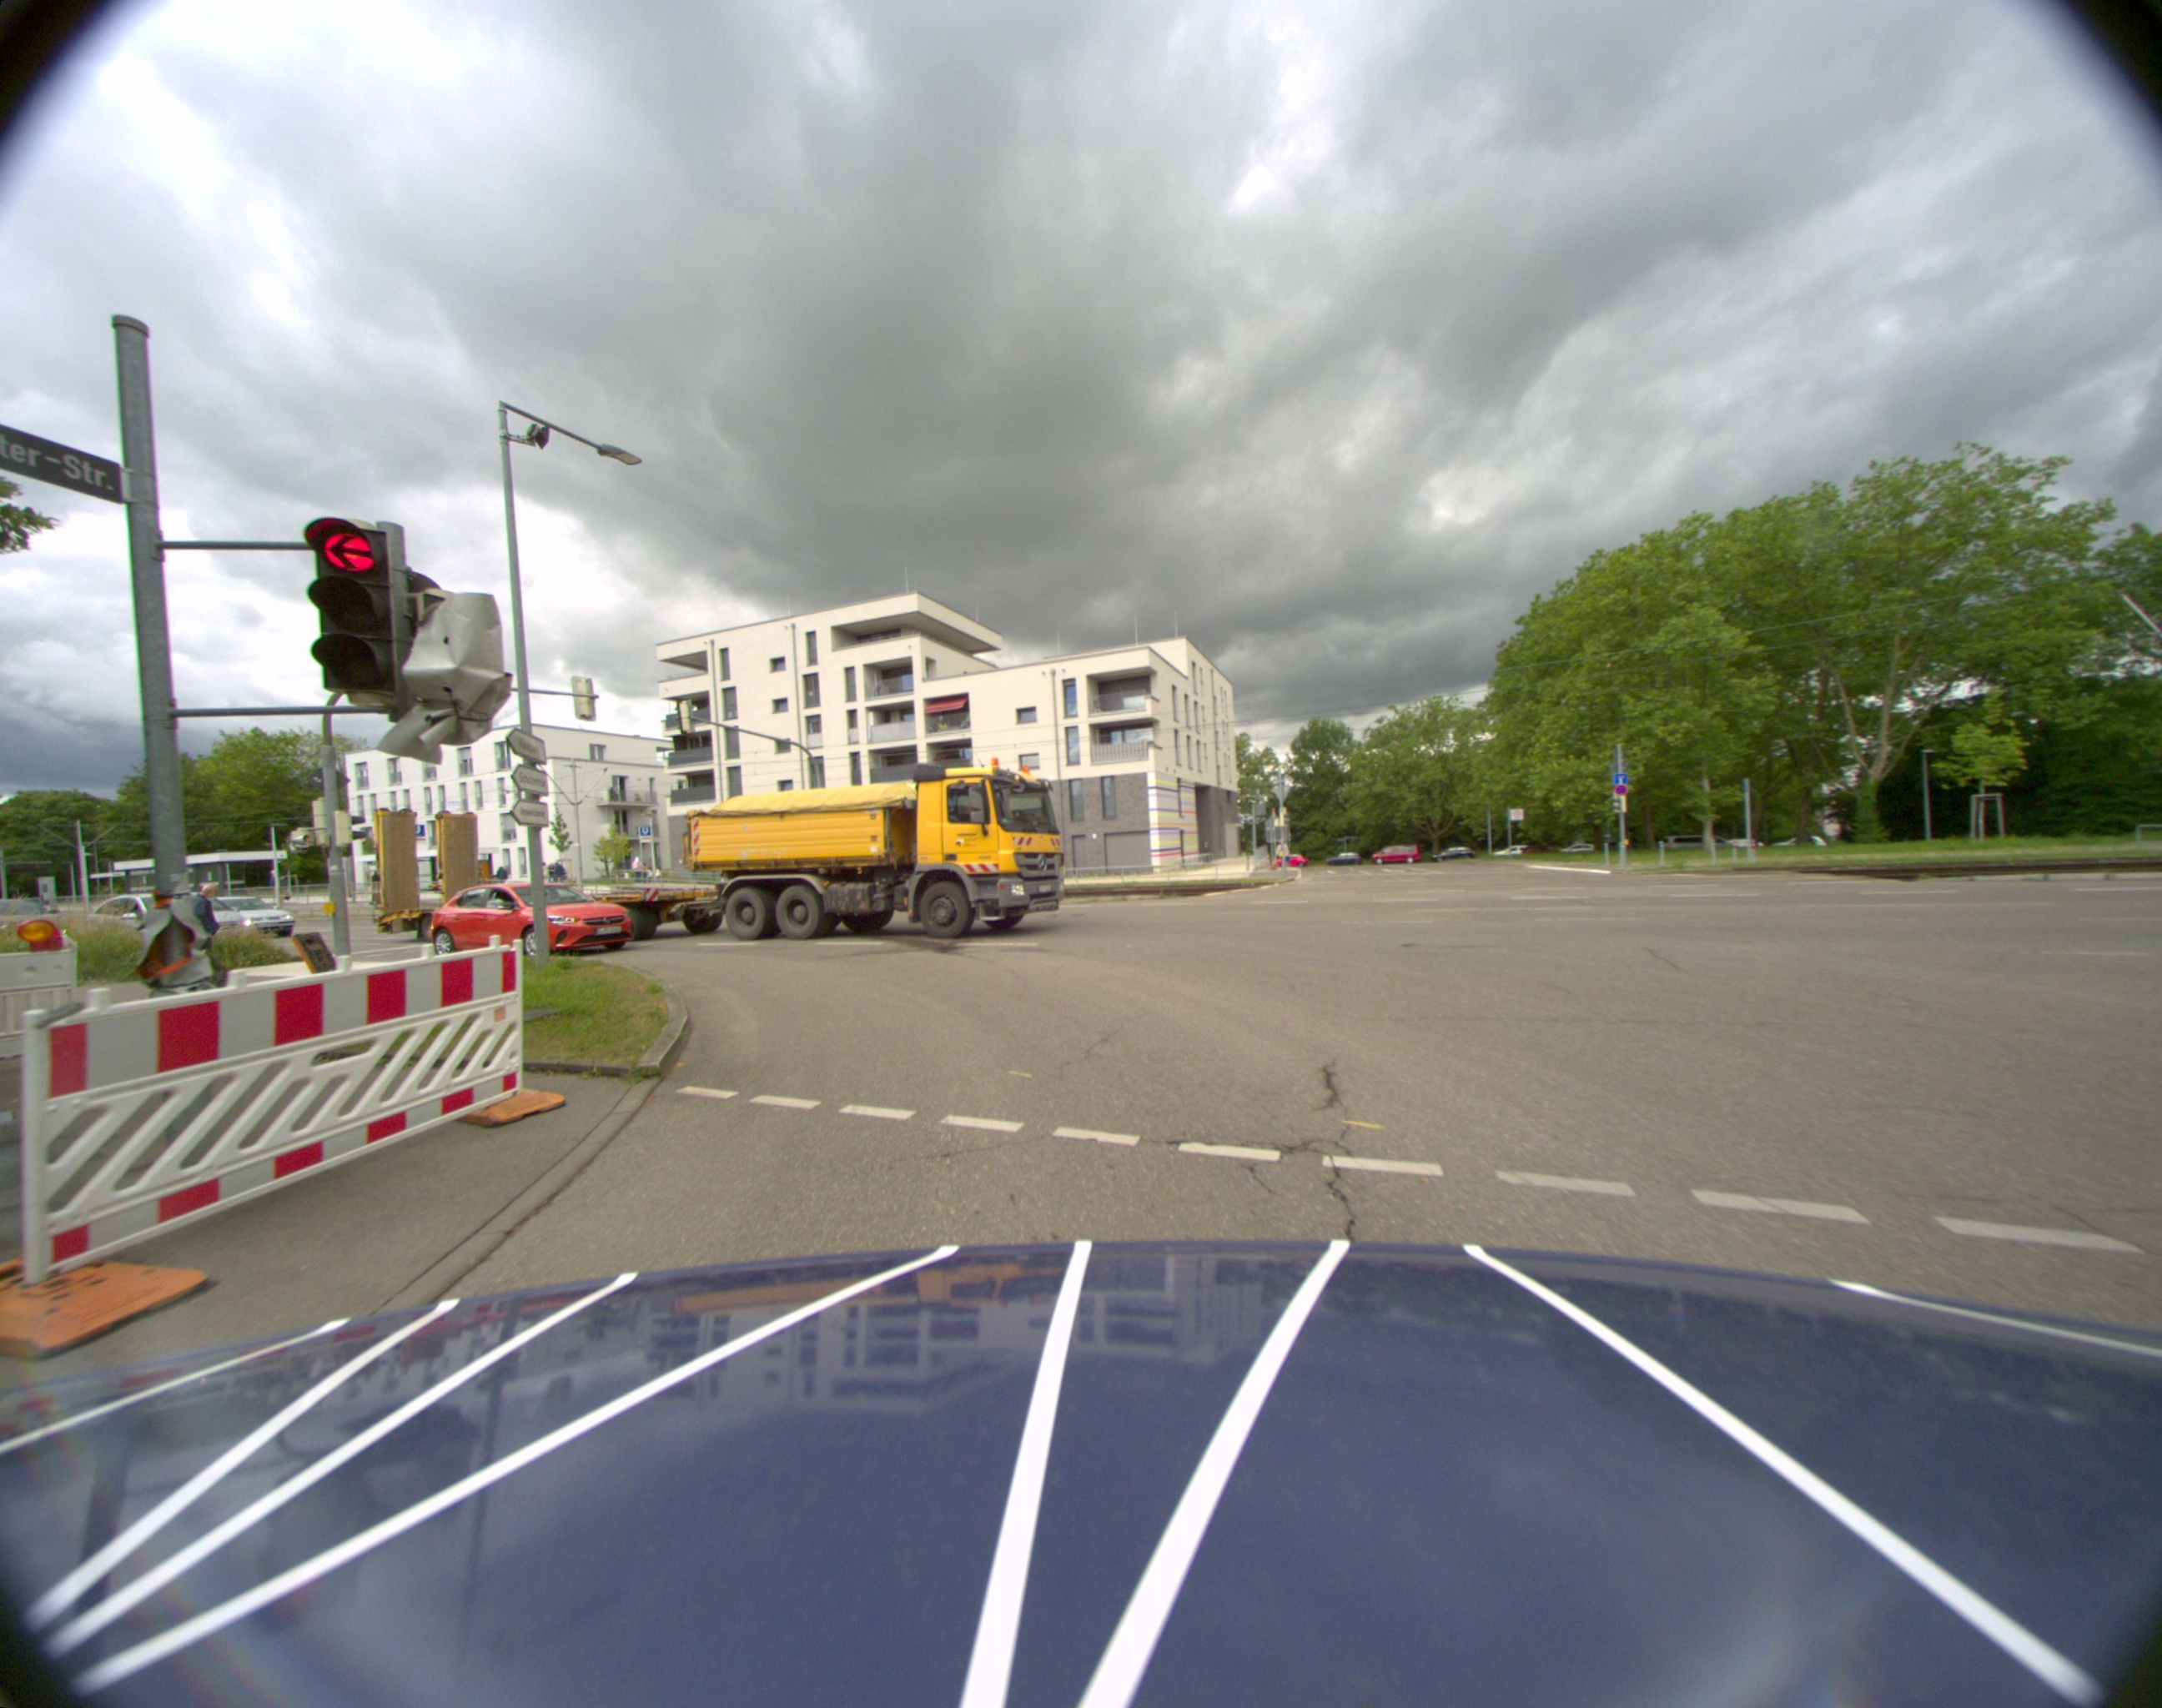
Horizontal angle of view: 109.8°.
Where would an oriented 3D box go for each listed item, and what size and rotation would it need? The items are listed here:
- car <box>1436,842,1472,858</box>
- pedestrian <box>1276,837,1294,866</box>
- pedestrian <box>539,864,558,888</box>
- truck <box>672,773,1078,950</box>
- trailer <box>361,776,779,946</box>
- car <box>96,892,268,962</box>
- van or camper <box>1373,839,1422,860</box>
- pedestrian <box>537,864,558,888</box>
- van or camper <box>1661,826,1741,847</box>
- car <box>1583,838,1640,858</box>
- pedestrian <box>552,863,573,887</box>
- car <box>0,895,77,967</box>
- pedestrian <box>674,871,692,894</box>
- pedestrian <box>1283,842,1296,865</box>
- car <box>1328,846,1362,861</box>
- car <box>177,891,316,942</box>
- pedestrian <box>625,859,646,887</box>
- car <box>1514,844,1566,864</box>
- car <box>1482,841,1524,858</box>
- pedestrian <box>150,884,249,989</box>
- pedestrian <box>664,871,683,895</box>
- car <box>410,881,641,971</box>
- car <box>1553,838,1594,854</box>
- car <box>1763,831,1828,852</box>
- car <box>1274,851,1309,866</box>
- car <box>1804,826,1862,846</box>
[{"bbox_3d":[38.073,-0.430,77.528,3.132,1.493,1.607,-3,0,28],"label":"car"},{"bbox_3d":[12.019,-0.158,44.736,0.990,1.660,0.856,-2,1,15],"label":"pedestrian"},{"bbox_3d":[-33.884,1.389,48.349,0.669,1.509,0.717,-3,0,20],"label":"pedestrian"},{"bbox_3d":[-4.230,0.216,15.491,7.761,2.986,2.733,-2,1,21],"label":"truck"},{"bbox_3d":[-12.875,0.330,18.863,10.890,3.501,2.719,-2,1,21],"label":"trailer"},{"bbox_3d":[-23.166,1.855,19.601,3.438,1.565,1.741,-3,0,20],"label":"car"},{"bbox_3d":[33.387,-0.458,80.200,4.549,2.013,2.051,-3,0,28],"label":"van or camper"},{"bbox_3d":[-32.541,1.326,46.318,0.669,1.401,0.716,-3,0,15],"label":"pedestrian"},{"bbox_3d":[53.240,-1.482,65.343,4.996,1.524,1.867,-3,0,22],"label":"van or camper"},{"bbox_3d":[47.129,-0.563,67.568,3.777,1.652,1.667,-2,1,20],"label":"car"},{"bbox_3d":[-31.732,1.291,46.508,0.669,1.401,0.717,-3,0,20],"label":"pedestrian"},{"bbox_3d":[-33.129,2.356,23.121,3.991,2.002,2.003,-3,1,21],"label":"car"},{"bbox_3d":[-25.182,1.819,48.087,0.669,1.401,0.717,-3,0,20],"label":"pedestrian"},{"bbox_3d":[18.617,-0.075,67.860,0.937,2.002,1.118,-3,0,21],"label":"pedestrian"},{"bbox_3d":[28.607,-0.085,82.401,3.262,1.493,1.607,-3,0,28],"label":"car"},{"bbox_3d":[-27.292,2.025,24.855,3.991,1.471,1.696,-2,1,21],"label":"car"},{"bbox_3d":[-27.567,1.197,47.063,0.764,1.677,0.717,-3,0,20],"label":"pedestrian"},{"bbox_3d":[41.791,-0.028,69.281,3.777,1.652,1.667,-2,1,21],"label":"car"},{"bbox_3d":[42.274,-0.485,76.241,3.588,1.528,1.877,-3,0,28],"label":"car"},{"bbox_3d":[-15.613,1.425,13.490,0.958,1.730,0.726,-3,1,-39],"label":"pedestrian"},{"bbox_3d":[-25.152,1.801,46.911,0.669,1.401,0.717,-3,0,20],"label":"pedestrian"},{"bbox_3d":[-10.823,1.347,14.816,3.991,1.471,1.696,-2,1,21],"label":"car"},{"bbox_3d":[47.710,-0.767,73.639,3.132,1.336,1.450,-3,0,28],"label":"car"},{"bbox_3d":[63.290,-1.076,67.372,3.802,1.639,1.702,-3,1,18],"label":"car"},{"bbox_3d":[23.482,0.536,84.780,3.535,1.490,1.649,-3,0,22],"label":"car"},{"bbox_3d":[69.781,-1.689,70.601,3.775,1.719,1.668,-1,1,43],"label":"car"}]
